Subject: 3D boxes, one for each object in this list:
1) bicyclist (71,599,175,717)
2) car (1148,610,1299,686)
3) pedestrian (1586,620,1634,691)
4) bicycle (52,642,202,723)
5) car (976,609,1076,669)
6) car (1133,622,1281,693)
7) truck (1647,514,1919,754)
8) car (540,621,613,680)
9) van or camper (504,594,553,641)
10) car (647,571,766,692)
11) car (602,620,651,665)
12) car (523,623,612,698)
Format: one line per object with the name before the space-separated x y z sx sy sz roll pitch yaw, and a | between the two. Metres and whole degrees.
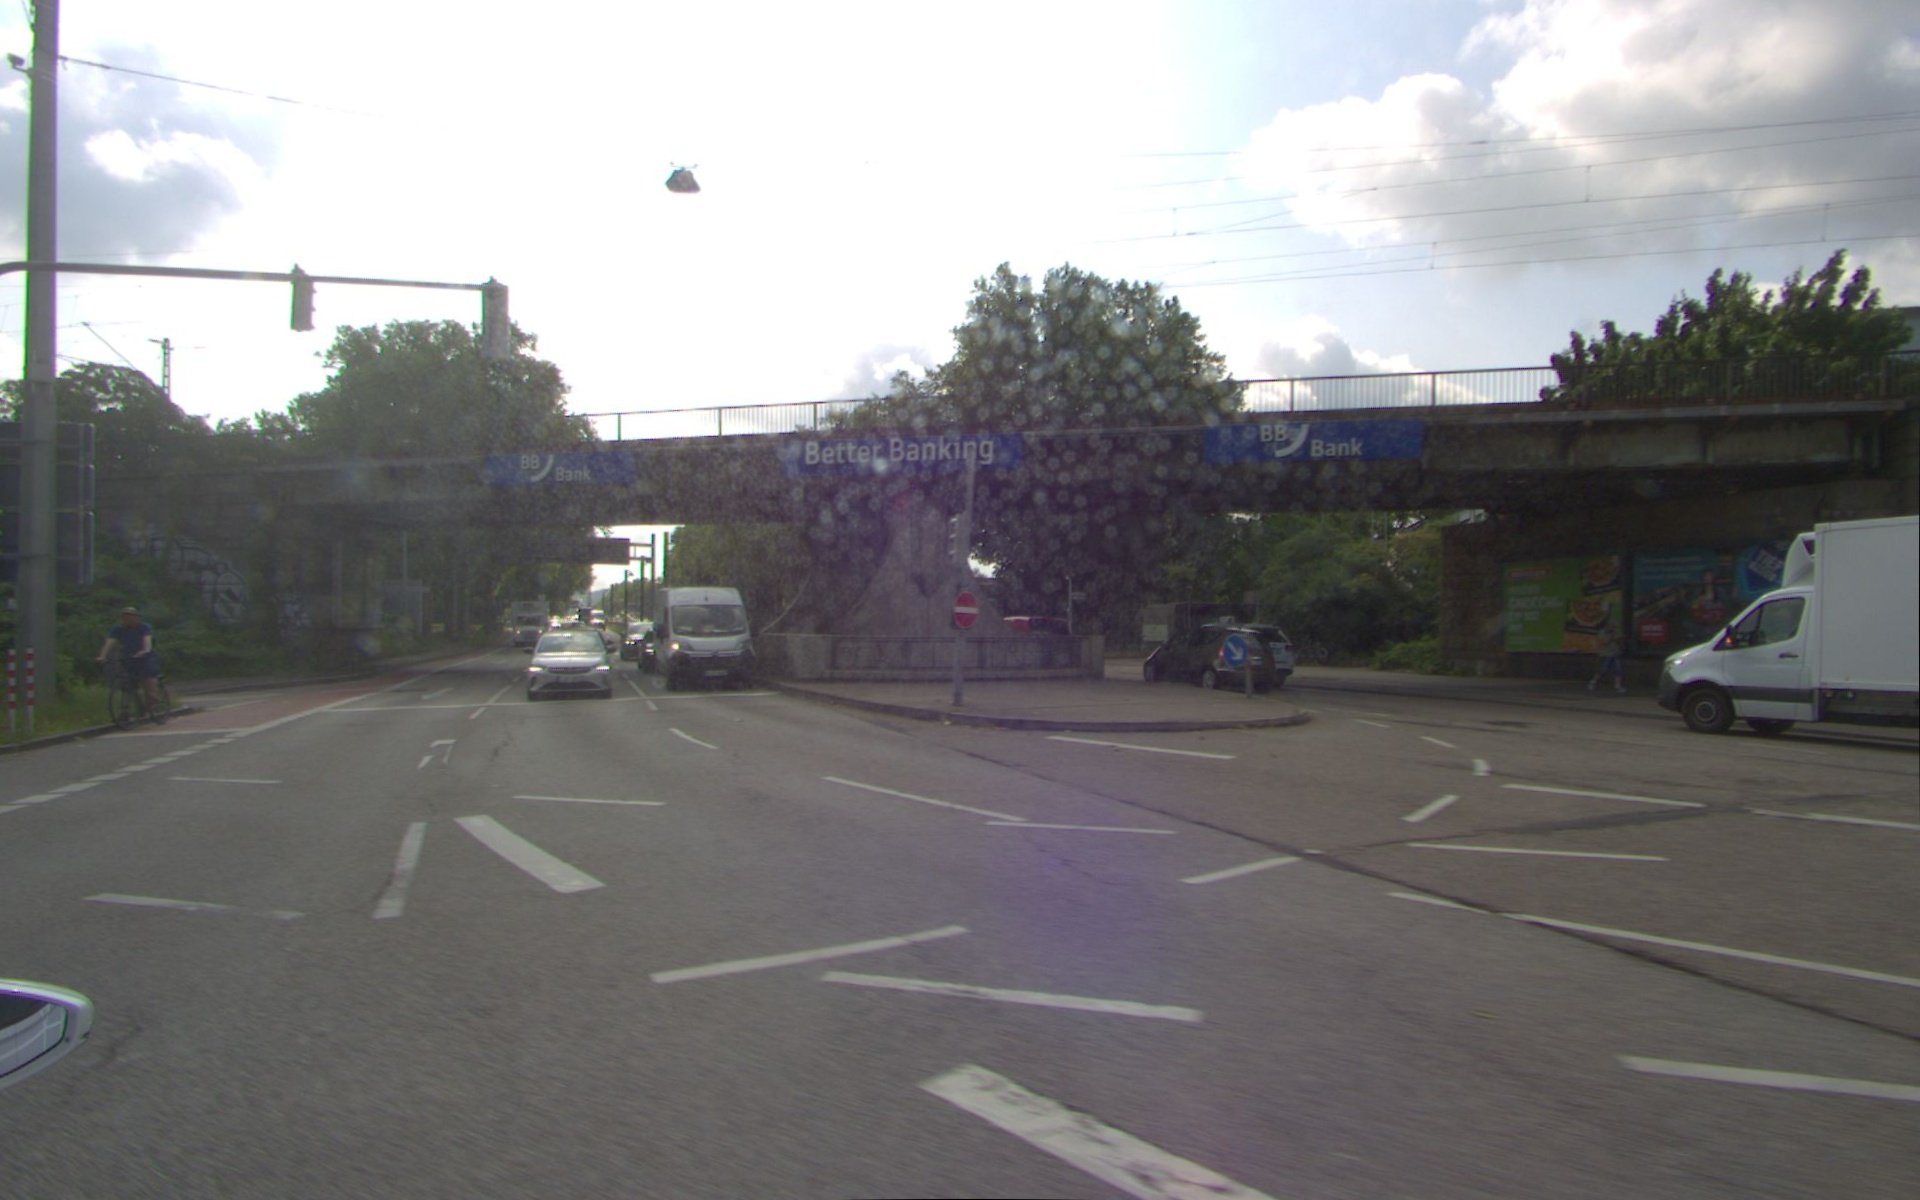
bicyclist | -12.798 0.868 15.344 0.830 1.700 0.822 -4 1 -14
car | 7.587 1.339 29.325 1.968 1.926 4.495 2 0 -21
pedestrian | 15.787 1.337 24.327 0.597 1.672 0.692 -3 0 -6
bicycle | -12.829 1.232 15.531 0.830 1.107 2.316 1 -1 -14
car | 2.325 1.394 36.803 1.929 2.042 4.665 2 -2 -20
car | 6.117 1.394 25.195 1.768 1.629 3.789 2 -2 -21
truck | 13.524 0.505 14.040 2.417 3.161 6.006 3 -2 -24
car | -12.049 1.528 31.295 1.742 1.604 4.647 -3 0 -25
van or camper | -29.972 1.142 69.770 2.619 3.122 5.734 0 1 -18
car | -6.597 0.781 25.511 2.226 2.559 5.614 -5 0 -20
car | -13.924 1.721 41.707 1.822 1.597 4.304 0 1 -20
car | -8.725 1.267 22.275 1.680 1.496 3.989 0 -1 -22
